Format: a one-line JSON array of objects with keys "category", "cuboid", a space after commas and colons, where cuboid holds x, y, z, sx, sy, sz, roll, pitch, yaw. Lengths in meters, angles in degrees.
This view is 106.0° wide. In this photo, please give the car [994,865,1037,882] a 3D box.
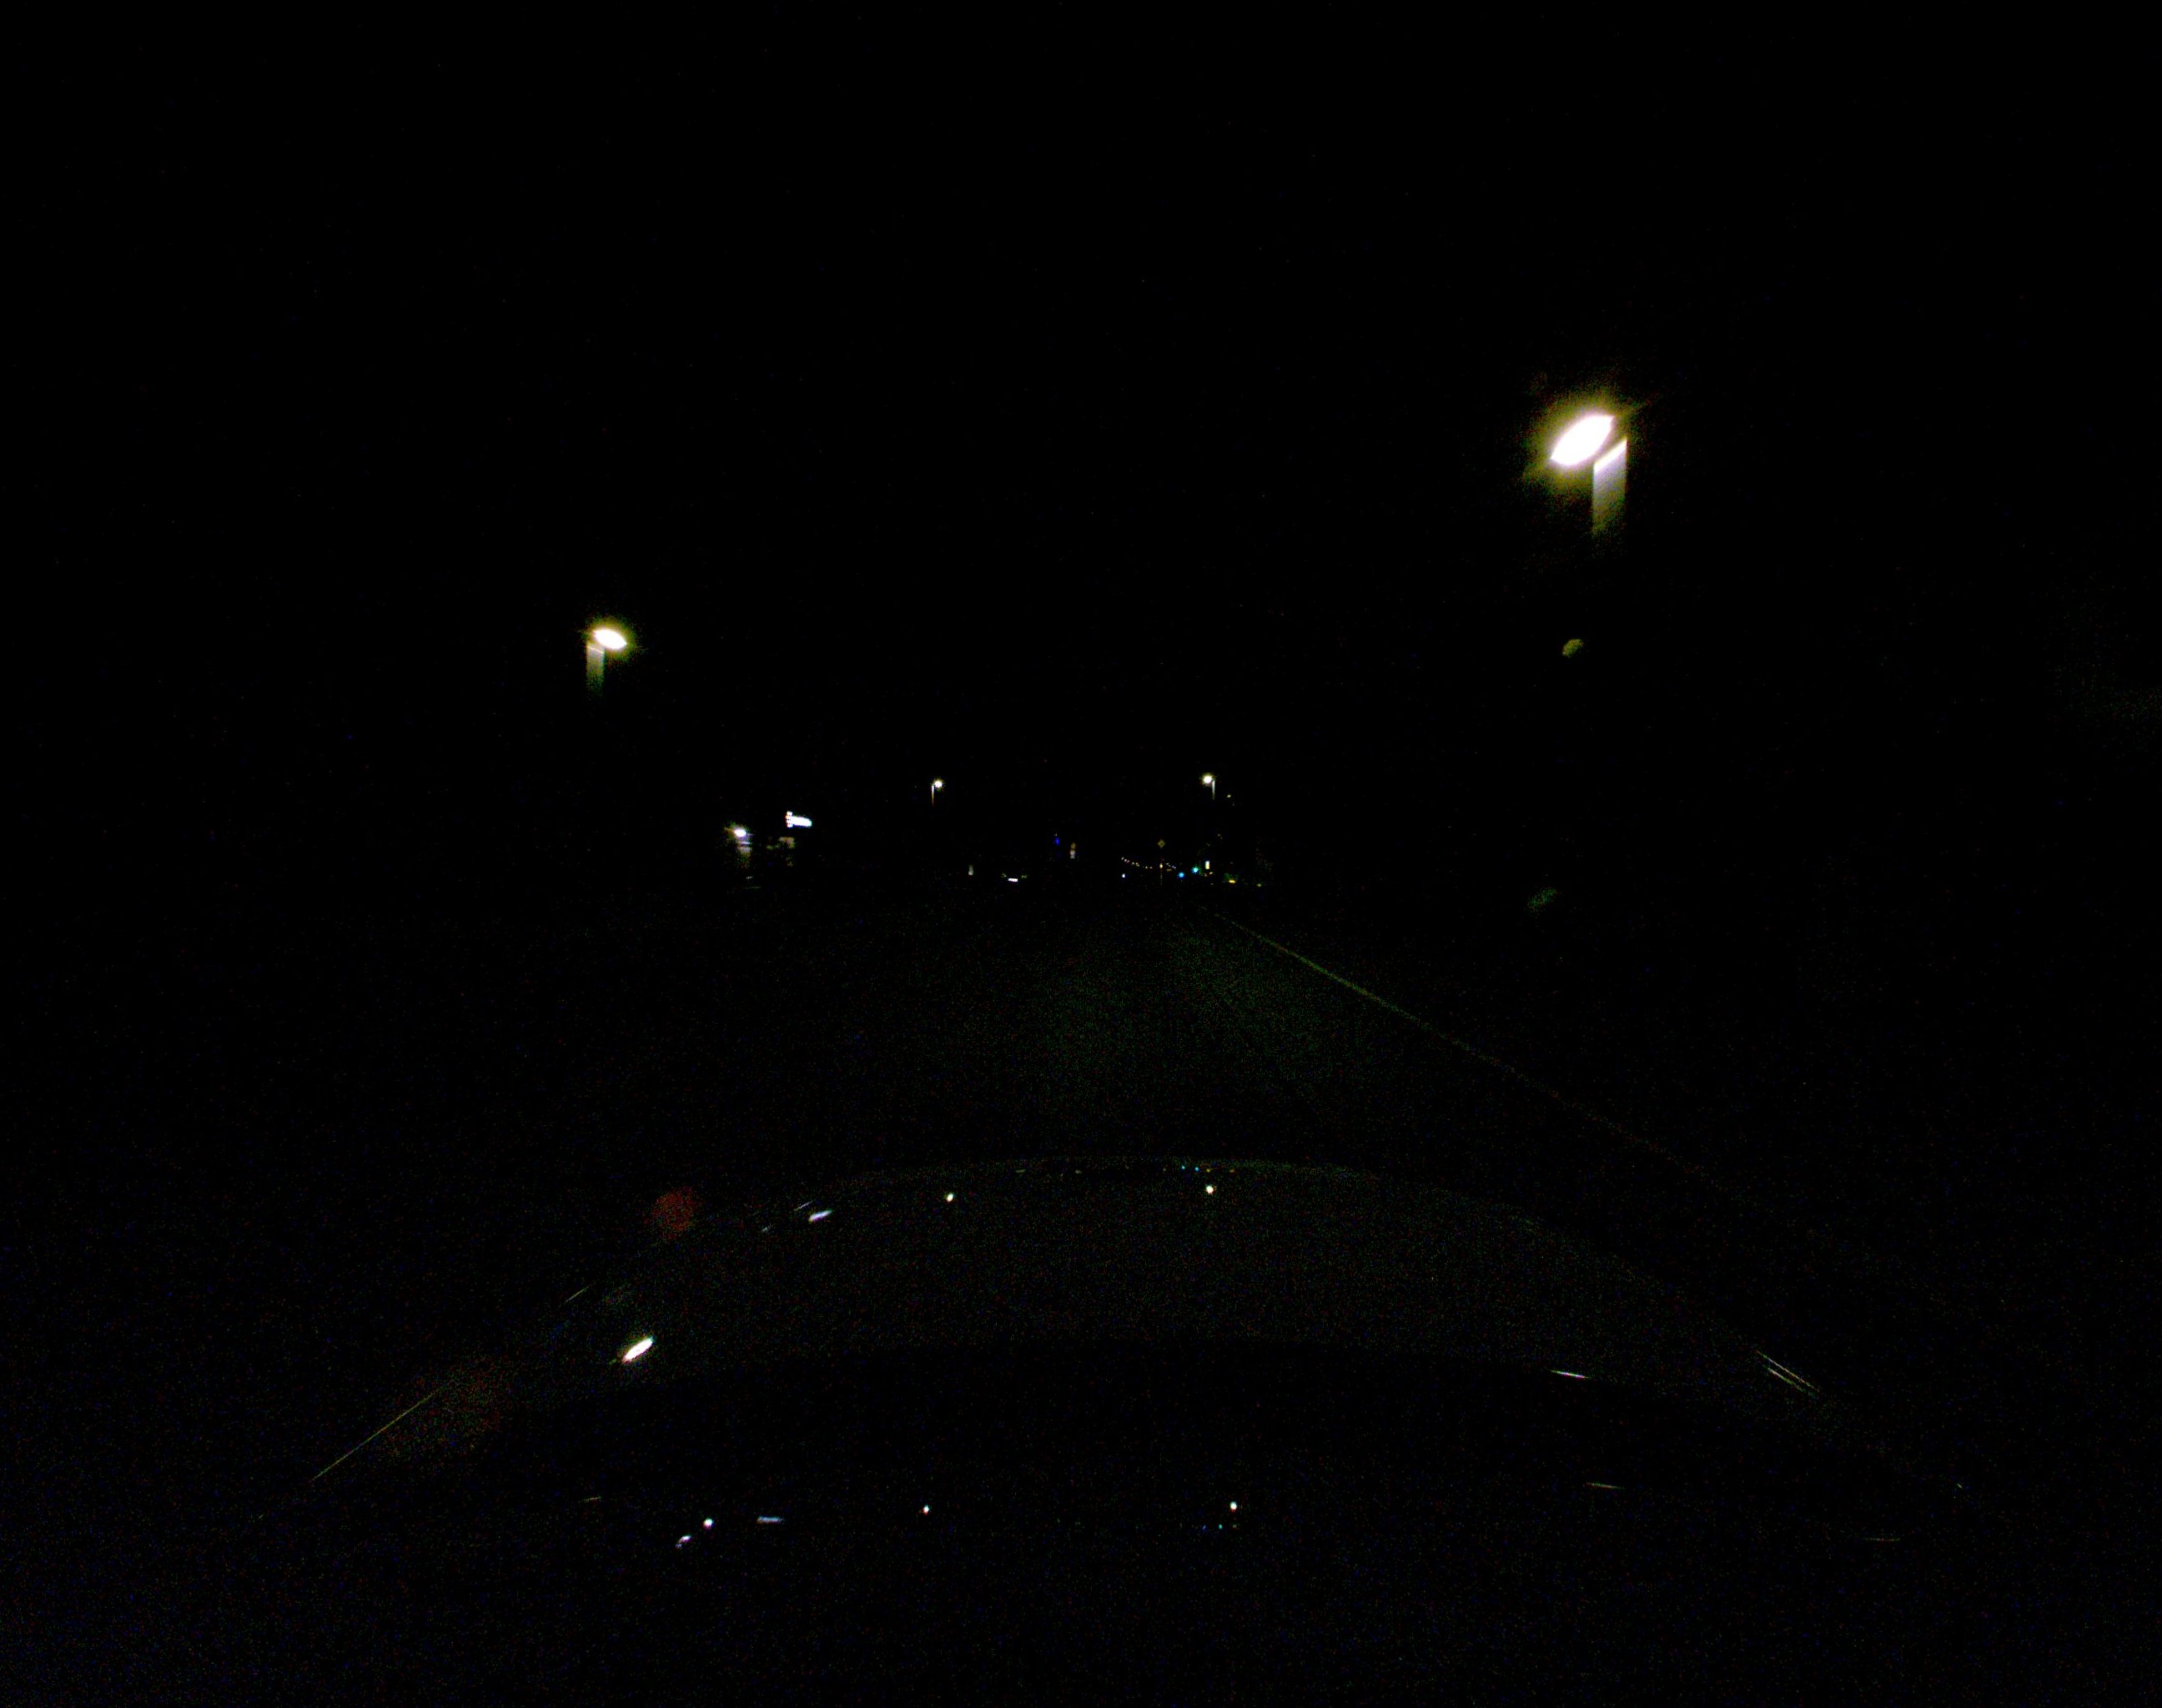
[{"category": "car", "cuboid": [-6.304, 1.899, 78.065, 3.681, 1.627, 1.792, -1, -2, 21]}]

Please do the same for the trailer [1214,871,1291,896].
[{"category": "trailer", "cuboid": [8.421, 1.456, 40.227, 3.419, 1.002, 1.955, 3, -1, 2]}]

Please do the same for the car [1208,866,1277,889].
[{"category": "car", "cuboid": [8.694, 1.253, 44.036, 3.380, 1.232, 1.724, 0, 0, 0]}]

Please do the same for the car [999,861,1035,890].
[{"category": "car", "cuboid": [-3.757, 1.230, 48.147, 1.666, 1.591, 3.988, 1, -1, 1]}]
